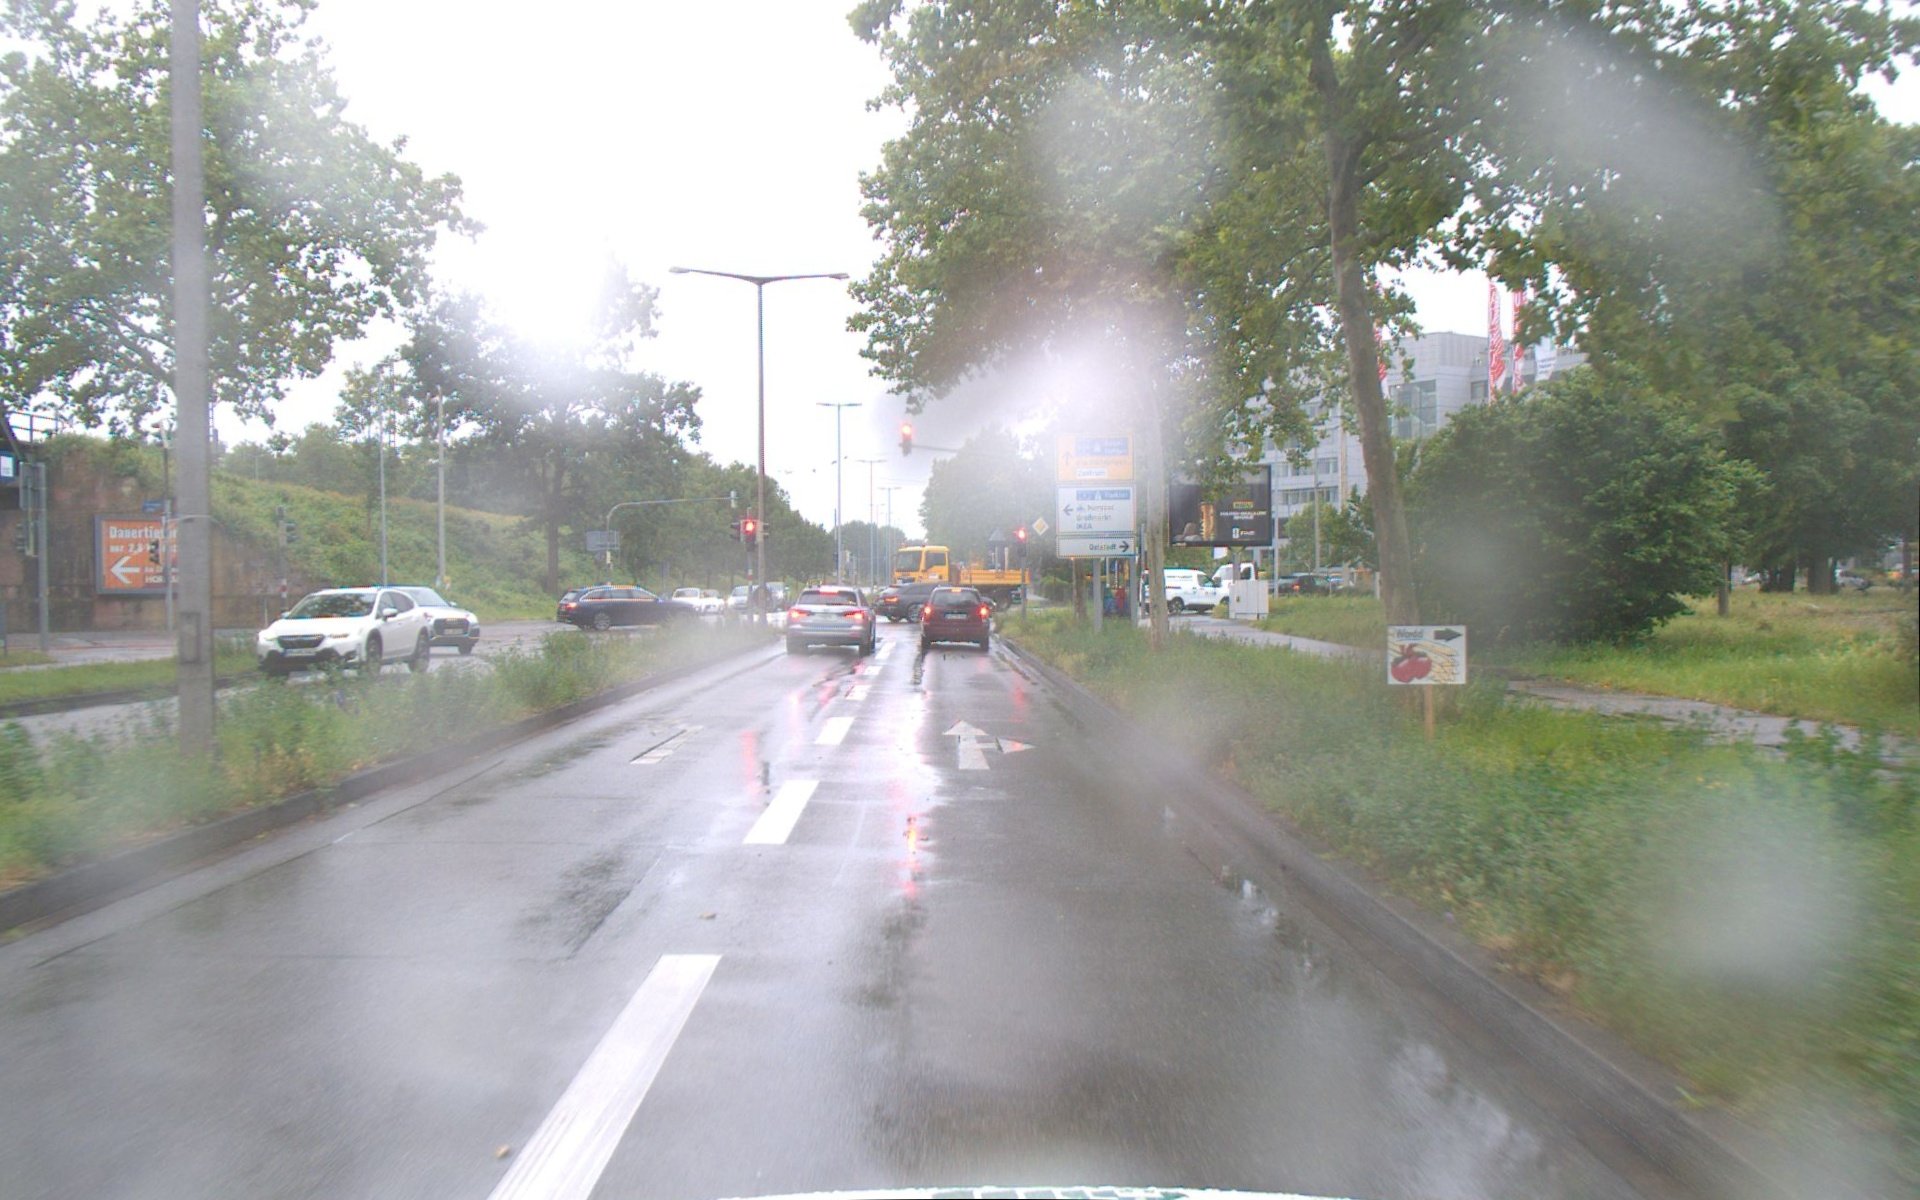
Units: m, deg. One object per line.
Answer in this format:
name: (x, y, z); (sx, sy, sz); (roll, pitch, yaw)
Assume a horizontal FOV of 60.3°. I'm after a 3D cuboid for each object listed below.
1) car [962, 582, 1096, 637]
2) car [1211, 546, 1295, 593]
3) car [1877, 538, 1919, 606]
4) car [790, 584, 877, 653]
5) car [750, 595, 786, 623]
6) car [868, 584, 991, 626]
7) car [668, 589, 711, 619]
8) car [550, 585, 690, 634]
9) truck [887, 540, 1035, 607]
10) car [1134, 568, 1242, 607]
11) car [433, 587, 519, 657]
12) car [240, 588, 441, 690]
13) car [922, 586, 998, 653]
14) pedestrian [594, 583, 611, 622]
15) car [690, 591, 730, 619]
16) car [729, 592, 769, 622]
car: (2.283, 0.271, 54.132); (4.348, 1.563, 1.776); (-4, 3, -41)
car: (15.432, -1.610, 87.071); (4.338, 2.228, 1.779); (-4, 2, -36)
car: (32.519, -0.910, 53.336); (1.790, 2.191, 4.843); (0, 0, -41)
car: (-2.783, 0.386, 37.230); (1.655, 1.458, 4.573); (0, 0, -1)
car: (-11.161, 0.494, 96.325); (1.677, 1.557, 3.999); (-1, 0, -1)
car: (-1.139, 0.177, 62.382); (4.326, 1.564, 1.784); (0, 0, -30)
car: (-14.352, 0.205, 87.910); (1.677, 1.557, 3.999); (-1, 0, -1)
car: (-11.542, 0.313, 56.230); (4.327, 1.564, 1.784); (-1, 0, -30)
truck: (0.103, -1.261, 79.371); (6.976, 3.107, 2.611); (-1, 0, -38)
car: (9.482, -0.516, 68.709); (4.327, 1.564, 1.784); (-1, 0, -30)
car: (-11.942, 0.511, 41.027); (1.825, 1.617, 4.502); (-1, 0, -14)
car: (-10.661, 0.624, 28.837); (1.819, 1.617, 4.518); (-1, 0, -1)
car: (-0.028, 0.458, 41.259); (1.759, 1.564, 4.386); (1, 0, -1)
pedestrian: (-17.007, 0.114, 78.718); (0.522, 1.817, 0.673); (1, -1, 17)
car: (-14.258, 0.257, 94.450); (1.677, 1.557, 3.999); (-1, 0, -1)
car: (-11.358, 0.346, 89.165); (1.677, 1.557, 3.999); (-1, 0, -1)
